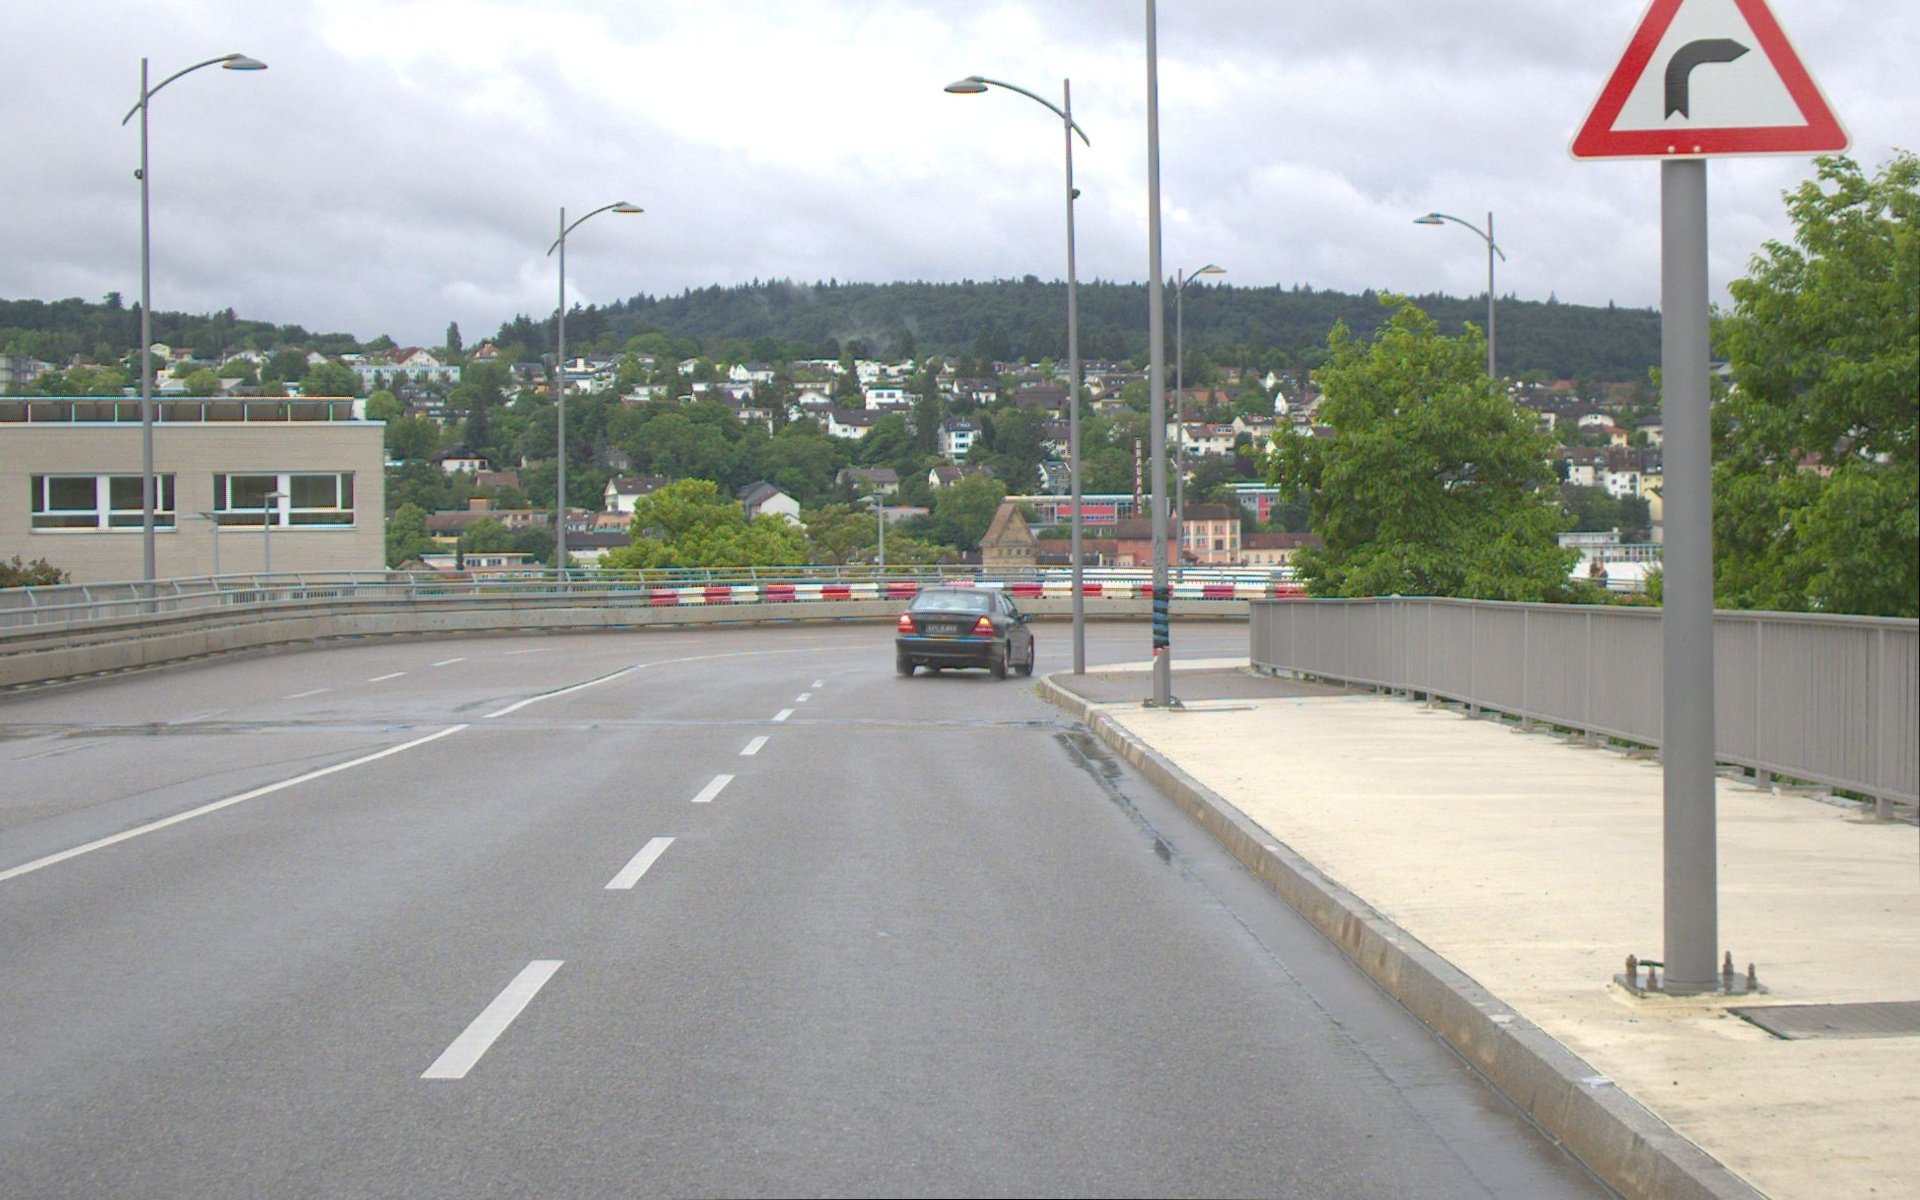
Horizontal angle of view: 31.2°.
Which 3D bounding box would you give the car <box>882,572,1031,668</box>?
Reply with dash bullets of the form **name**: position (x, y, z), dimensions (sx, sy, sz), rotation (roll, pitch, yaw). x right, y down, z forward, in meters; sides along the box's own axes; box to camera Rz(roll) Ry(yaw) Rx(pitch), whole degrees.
- **car**: position (-0.024, 0.279, 53.550), dimensions (1.706, 1.415, 3.724), rotation (1, 1, 10)
